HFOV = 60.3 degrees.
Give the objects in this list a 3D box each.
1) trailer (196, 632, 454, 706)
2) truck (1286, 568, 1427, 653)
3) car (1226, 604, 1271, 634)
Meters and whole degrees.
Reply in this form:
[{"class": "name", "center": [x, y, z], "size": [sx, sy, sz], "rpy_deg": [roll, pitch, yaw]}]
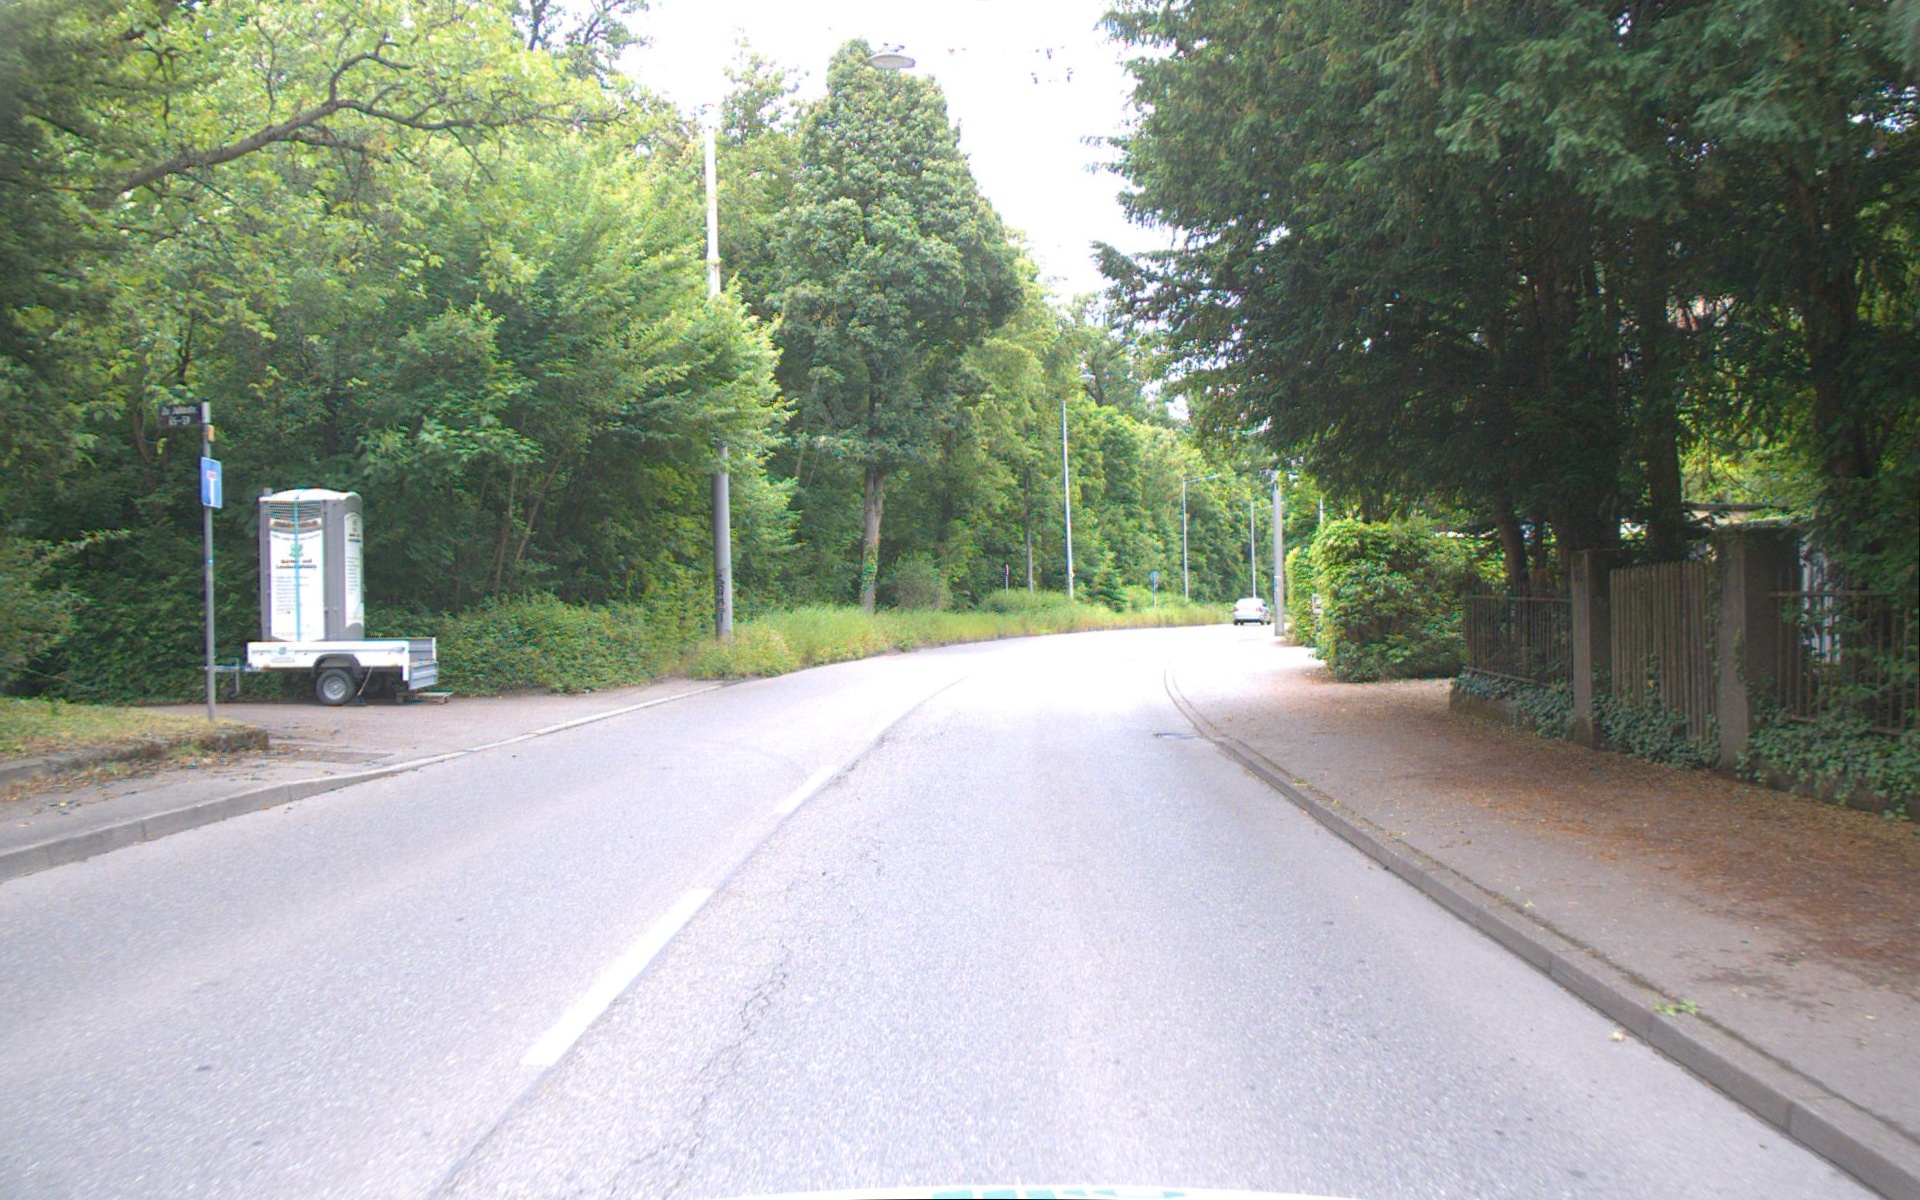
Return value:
[{"class": "trailer", "center": [-8.313, 0.893, 21.846], "size": [2.900, 0.843, 1.473], "rpy_deg": [-1, 0, -9]}, {"class": "truck", "center": [8.479, 0.223, 35.537], "size": [1.333, 1.719, 3.034], "rpy_deg": [-1, 0, -26]}, {"class": "car", "center": [15.580, 1.003, 89.280], "size": [1.951, 1.512, 4.003], "rpy_deg": [-1, 0, 16]}]
